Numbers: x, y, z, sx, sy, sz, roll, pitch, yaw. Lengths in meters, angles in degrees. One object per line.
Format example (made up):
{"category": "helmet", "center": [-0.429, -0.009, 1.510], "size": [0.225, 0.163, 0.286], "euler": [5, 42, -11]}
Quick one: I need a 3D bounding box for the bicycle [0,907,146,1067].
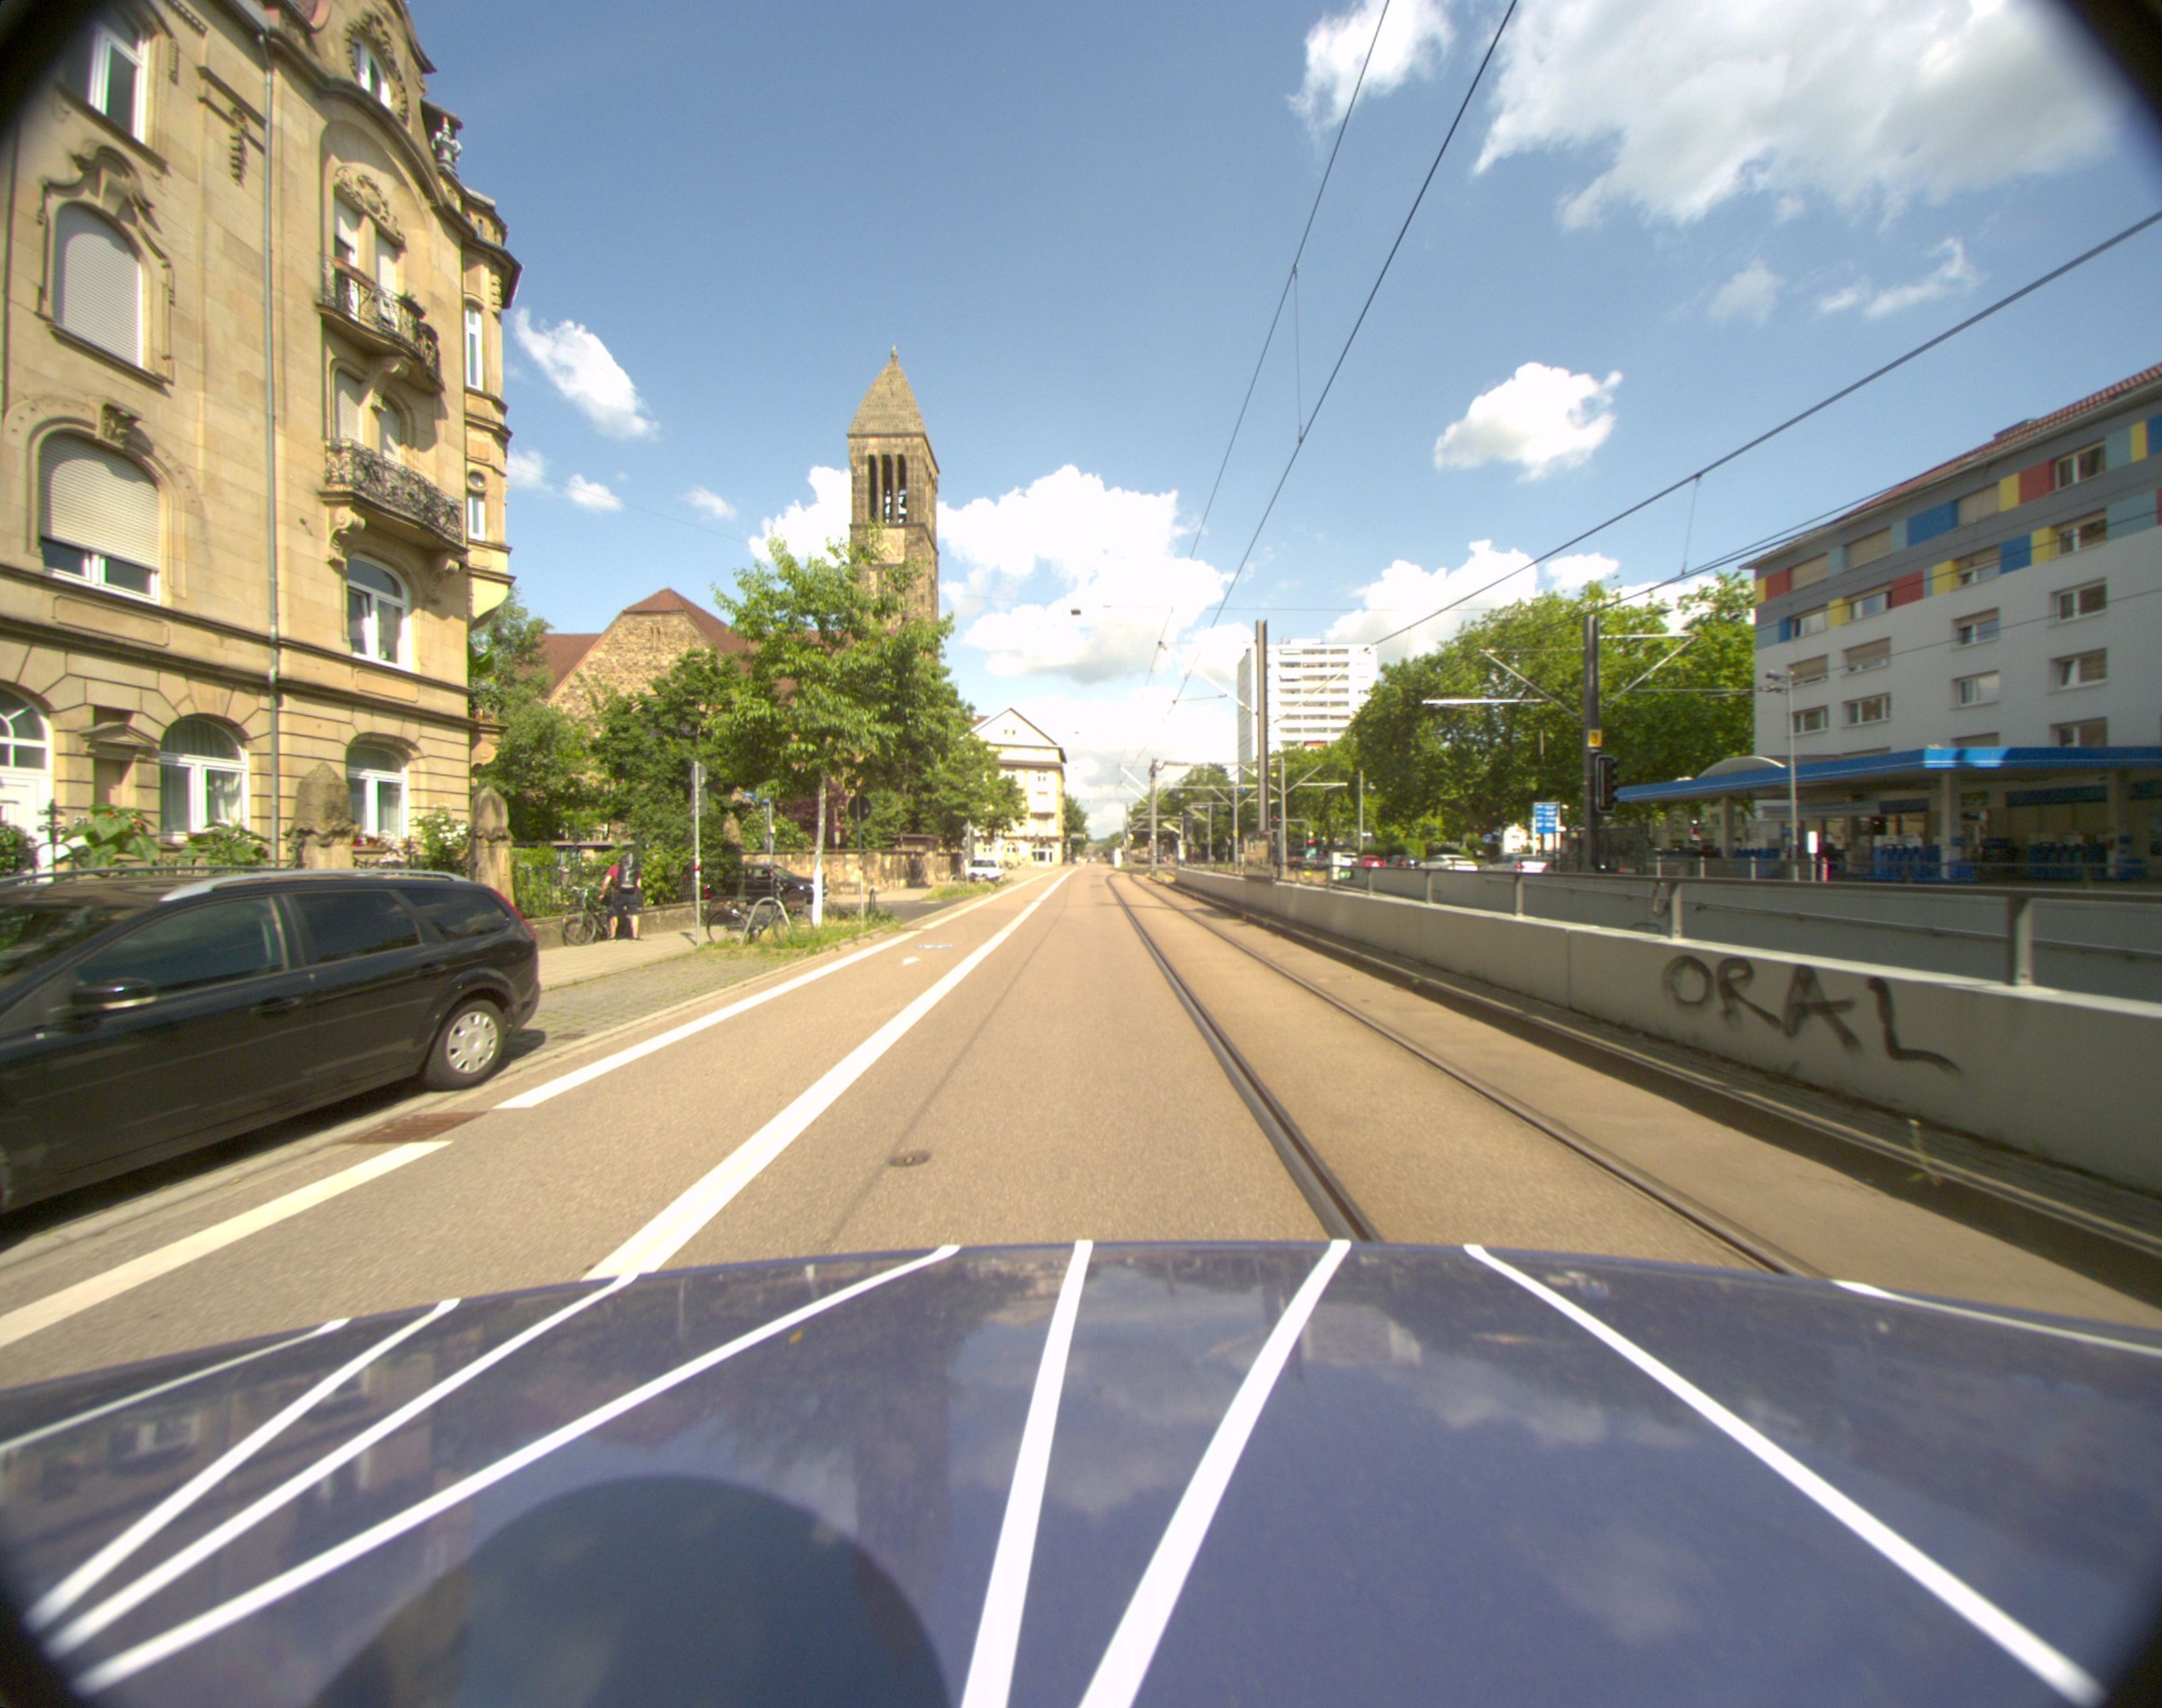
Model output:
{"category": "bicycle", "center": [-8.409, 1.044, 5.628], "size": [0.428, 1.133, 2.023], "euler": [2, 0, 1]}

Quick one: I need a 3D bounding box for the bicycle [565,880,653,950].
{"category": "bicycle", "center": [-8.412, 1.049, 13.611], "size": [0.471, 1.102, 1.711], "euler": [-1, 0, 1]}

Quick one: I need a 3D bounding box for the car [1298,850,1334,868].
{"category": "car", "center": [22.350, 0.457, 72.384], "size": [1.871, 1.642, 5.154], "euler": [1, 0, 1]}

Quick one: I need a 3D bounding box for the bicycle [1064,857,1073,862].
{"category": "bicycle", "center": [-2.470, 1.061, 148.146], "size": [1.693, 0.980, 0.497], "euler": [-1, 0, -2]}

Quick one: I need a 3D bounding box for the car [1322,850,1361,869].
{"category": "car", "center": [22.208, 0.449, 64.896], "size": [1.764, 1.597, 4.679], "euler": [0, 0, 0]}

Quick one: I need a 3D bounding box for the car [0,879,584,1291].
{"category": "car", "center": [-5.051, 0.968, 3.976], "size": [1.690, 1.493, 4.708], "euler": [-1, 0, 1]}

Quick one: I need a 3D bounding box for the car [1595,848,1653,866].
{"category": "car", "center": [41.526, 0.250, 58.221], "size": [1.477, 1.286, 4.000], "euler": [2, 0, 0]}

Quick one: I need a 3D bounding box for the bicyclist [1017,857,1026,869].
{"category": "bicyclist", "center": [-7.616, 1.201, 97.332], "size": [0.923, 1.494, 0.651], "euler": [-1, -3, -29]}

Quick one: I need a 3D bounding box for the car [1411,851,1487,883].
{"category": "car", "center": [21.510, 0.816, 44.669], "size": [1.952, 1.597, 5.078], "euler": [-6, -2, 1]}

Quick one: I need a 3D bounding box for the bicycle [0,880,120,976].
{"category": "bicycle", "center": [-12.907, 0.869, 9.144], "size": [1.894, 1.063, 0.471], "euler": [3, 0, -5]}

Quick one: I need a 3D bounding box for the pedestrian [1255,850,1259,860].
{"category": "pedestrian", "center": [29.645, 0.188, 128.062], "size": [0.671, 1.693, 0.648], "euler": [-1, 0, 3]}

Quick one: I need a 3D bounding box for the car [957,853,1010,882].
{"category": "car", "center": [-5.096, 0.699, 40.226], "size": [1.671, 1.408, 3.847], "euler": [-2, 0, 9]}

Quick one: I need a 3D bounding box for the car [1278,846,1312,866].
{"category": "car", "center": [22.354, 0.234, 79.473], "size": [2.080, 1.974, 5.337], "euler": [0, -1, 0]}

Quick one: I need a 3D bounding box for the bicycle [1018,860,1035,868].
{"category": "bicycle", "center": [-7.011, 1.231, 97.436], "size": [2.137, 0.983, 0.651], "euler": [0, 0, -28]}

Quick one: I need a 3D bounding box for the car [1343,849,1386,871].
{"category": "car", "center": [21.559, 0.454, 57.936], "size": [1.716, 1.597, 4.145], "euler": [0, -1, 0]}

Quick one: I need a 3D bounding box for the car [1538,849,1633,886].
{"category": "car", "center": [20.567, 0.530, 31.158], "size": [1.672, 1.408, 3.784], "euler": [-1, 0, 6]}

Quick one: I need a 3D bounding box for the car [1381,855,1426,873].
{"category": "car", "center": [21.652, 0.654, 51.169], "size": [1.620, 1.182, 3.634], "euler": [-1, 0, 2]}

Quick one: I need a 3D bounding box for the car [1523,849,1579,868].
{"category": "car", "center": [35.835, 0.372, 58.010], "size": [1.757, 1.402, 4.000], "euler": [0, 0, 0]}

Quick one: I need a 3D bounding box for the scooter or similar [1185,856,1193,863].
{"category": "scooter or similar", "center": [12.750, 0.658, 89.803], "size": [0.840, 0.799, 0.553], "euler": [-1, 0, -4]}

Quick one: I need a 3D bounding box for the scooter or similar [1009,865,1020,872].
{"category": "scooter or similar", "center": [-8.505, 1.842, 96.652], "size": [1.133, 0.971, 0.888], "euler": [-1, 0, -29]}

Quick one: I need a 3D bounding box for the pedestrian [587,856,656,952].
{"category": "pedestrian", "center": [-8.060, 0.860, 13.352], "size": [0.725, 1.619, 0.725], "euler": [-1, 1, 1]}

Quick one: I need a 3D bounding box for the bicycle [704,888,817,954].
{"category": "bicycle", "center": [-5.491, 1.140, 13.072], "size": [1.711, 1.063, 0.471], "euler": [-1, 1, -5]}

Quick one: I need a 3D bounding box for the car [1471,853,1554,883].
{"category": "car", "center": [21.321, 0.667, 37.742], "size": [1.726, 1.408, 4.406], "euler": [0, 0, 2]}

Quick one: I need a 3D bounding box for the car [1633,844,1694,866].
{"category": "car", "center": [44.201, 0.110, 57.759], "size": [1.530, 1.594, 4.000], "euler": [1, 0, 0]}

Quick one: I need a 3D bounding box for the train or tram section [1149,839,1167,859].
{"category": "train or tram section", "center": [14.377, -0.867, 141.842], "size": [2.802, 3.540, 11.379], "euler": [-1, 0, 3]}

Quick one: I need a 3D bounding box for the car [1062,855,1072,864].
{"category": "car", "center": [-2.868, 1.065, 155.634], "size": [1.851, 1.779, 4.000], "euler": [2, 0, 0]}

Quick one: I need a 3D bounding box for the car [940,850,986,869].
{"category": "car", "center": [-11.135, 0.525, 71.886], "size": [4.013, 1.813, 1.863], "euler": [-1, 0, -2]}

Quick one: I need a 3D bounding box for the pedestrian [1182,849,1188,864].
{"category": "pedestrian", "center": [12.324, 0.314, 89.774], "size": [0.528, 1.722, 0.557], "euler": [1, 0, -4]}

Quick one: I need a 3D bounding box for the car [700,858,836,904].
{"category": "car", "center": [-11.484, 0.979, 28.109], "size": [4.263, 1.547, 1.756], "euler": [-1, 3, -1]}
